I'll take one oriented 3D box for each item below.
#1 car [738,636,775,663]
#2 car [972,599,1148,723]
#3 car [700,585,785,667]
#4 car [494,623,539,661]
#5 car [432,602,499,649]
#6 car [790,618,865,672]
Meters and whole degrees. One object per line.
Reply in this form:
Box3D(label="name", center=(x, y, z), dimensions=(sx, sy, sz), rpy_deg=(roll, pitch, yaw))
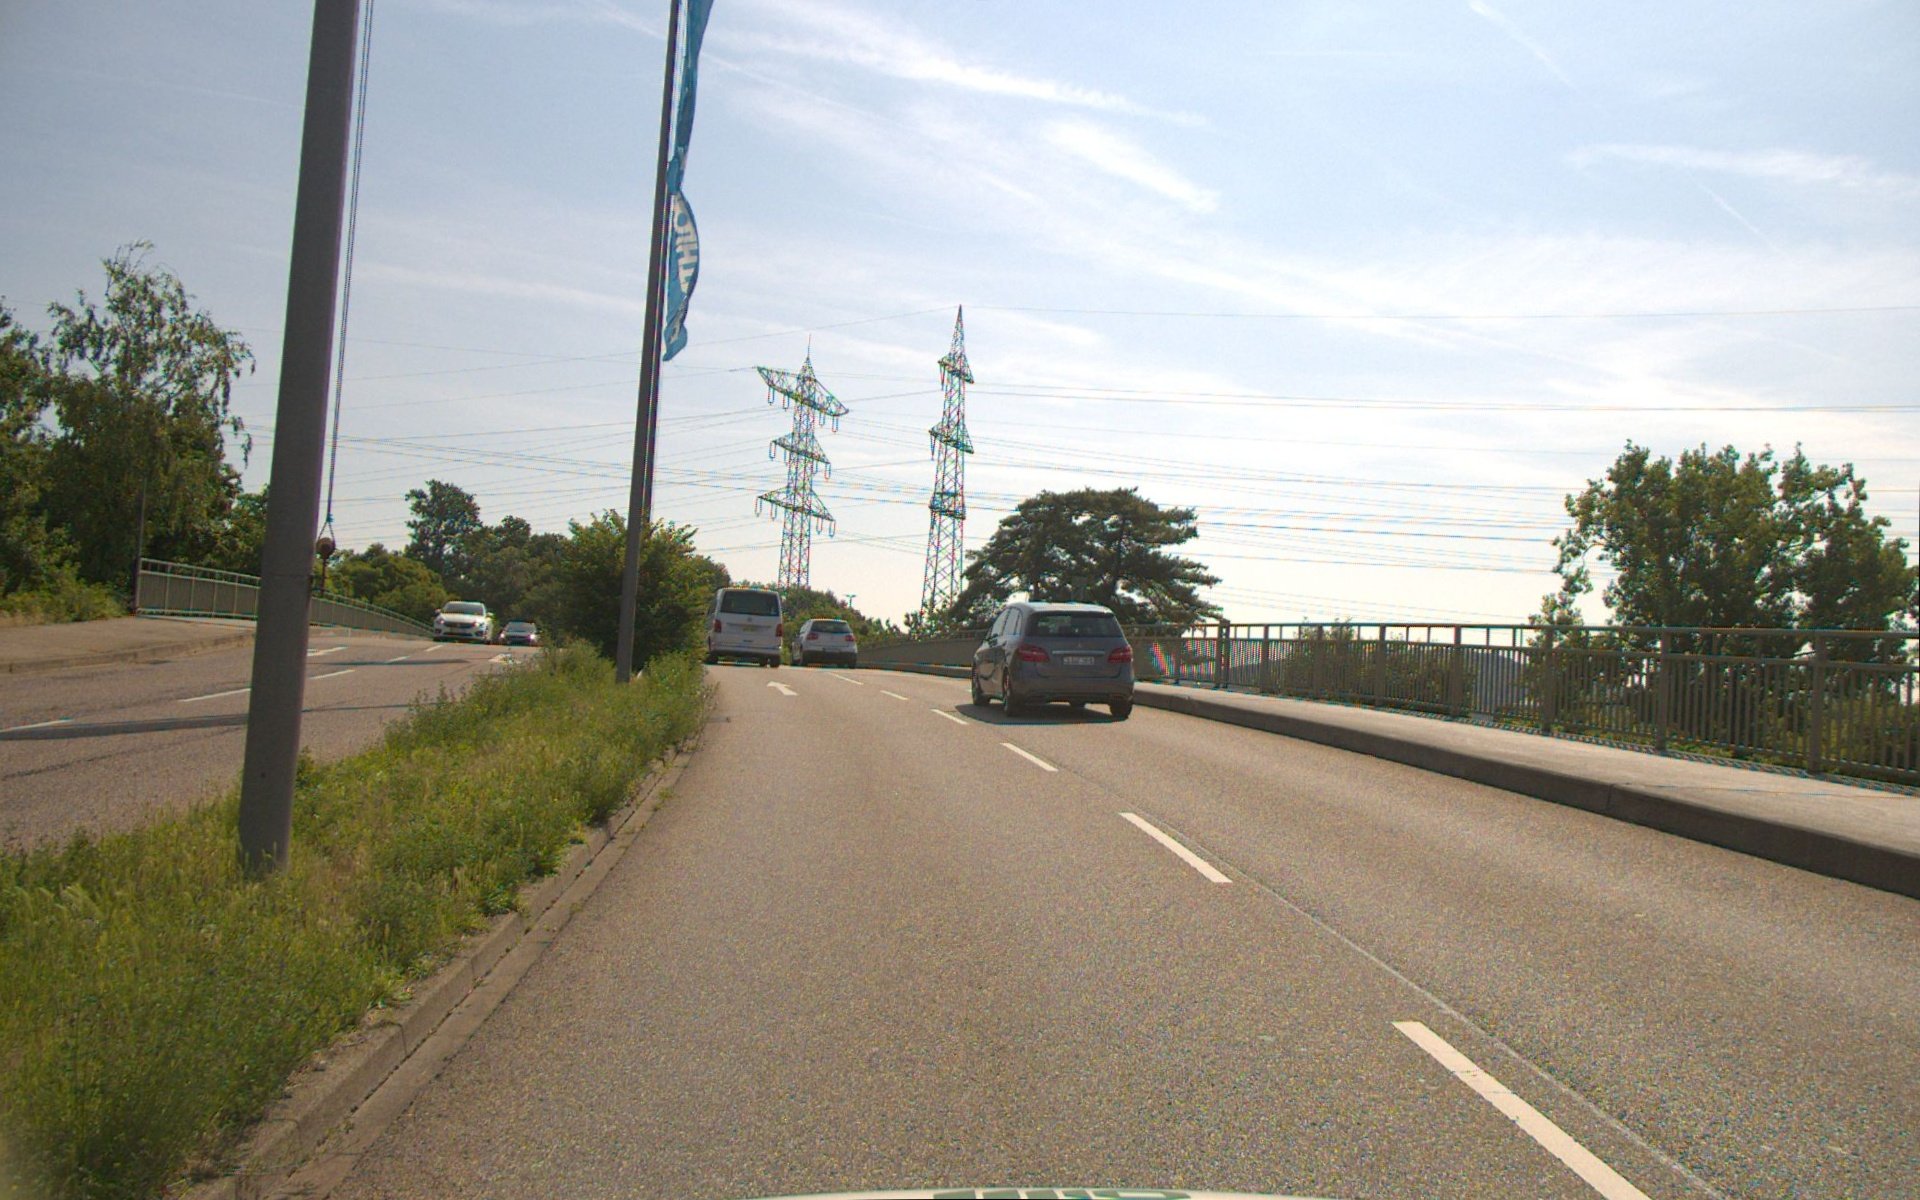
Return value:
Box3D(label="car", center=(-10.761, 2.629, 87.264), dimensions=(1.741, 1.355, 3.731), rpy_deg=(-1, -2, -9))
Box3D(label="car", center=(1.333, 0.844, 23.787), dimensions=(1.821, 1.556, 4.138), rpy_deg=(2, -1, -6))
Box3D(label="car", center=(-5.765, 0.665, 43.523), dimensions=(2.002, 2.049, 3.990), rpy_deg=(1, 0, -10))
Box3D(label="car", center=(-21.598, 2.015, 80.678), dimensions=(1.849, 1.664, 4.212), rpy_deg=(2, 0, -12))
Box3D(label="car", center=(-17.325, 0.902, 58.081), dimensions=(1.764, 1.578, 3.990), rpy_deg=(1, -1, -10))
Box3D(label="car", center=(-4.199, 1.386, 51.851), dimensions=(1.823, 1.556, 4.132), rpy_deg=(2, -1, -11))
